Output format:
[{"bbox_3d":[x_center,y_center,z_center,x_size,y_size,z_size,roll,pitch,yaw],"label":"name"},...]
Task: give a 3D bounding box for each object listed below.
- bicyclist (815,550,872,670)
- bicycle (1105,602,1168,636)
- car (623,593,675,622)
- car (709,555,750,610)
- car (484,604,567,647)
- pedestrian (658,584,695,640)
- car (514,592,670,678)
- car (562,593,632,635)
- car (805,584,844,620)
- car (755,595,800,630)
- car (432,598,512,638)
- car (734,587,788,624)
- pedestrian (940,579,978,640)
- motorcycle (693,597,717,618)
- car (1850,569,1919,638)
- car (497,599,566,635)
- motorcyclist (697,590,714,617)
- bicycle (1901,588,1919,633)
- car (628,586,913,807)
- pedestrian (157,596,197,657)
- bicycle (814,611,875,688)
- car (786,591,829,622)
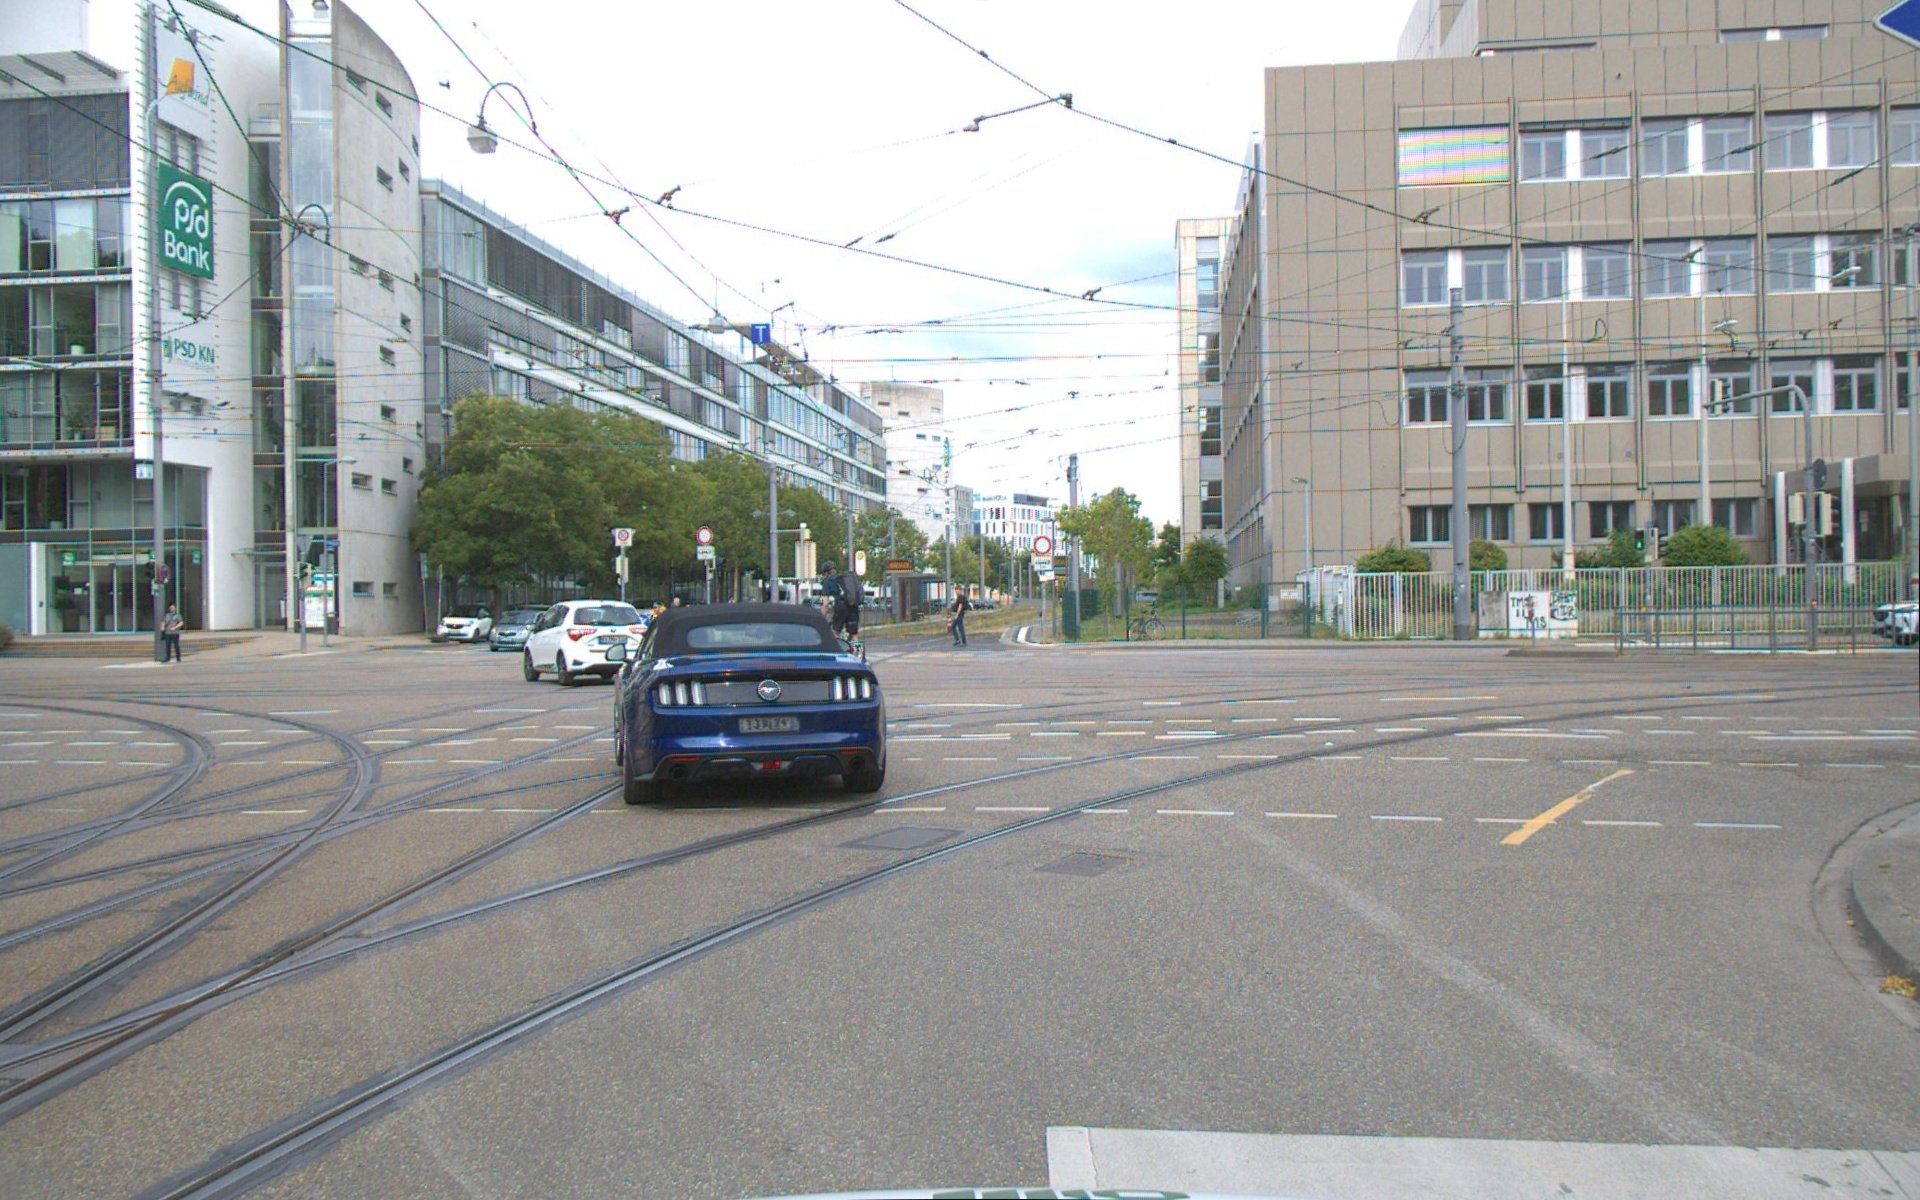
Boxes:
[{"bbox_3d":[-1.803,0.155,25.787,0.780,1.817,1.233,-1,0,0],"label":"bicyclist"},{"bbox_3d":[5.563,0.610,52.276,0.628,0.998,2.127,-1,-2,-39],"label":"bicycle"},{"bbox_3d":[-18.132,0.397,96.616,1.944,1.584,4.514,1,0,3],"label":"car"},{"bbox_3d":[-16.063,-1.228,115.584,1.944,3.700,4.514,1,0,3],"label":"car"},{"bbox_3d":[-16.509,0.944,63.053,1.632,1.533,4.237,1,0,6],"label":"car"},{"bbox_3d":[-9.765,0.412,57.001,0.968,1.888,0.902,-1,0,9],"label":"pedestrian"},{"bbox_3d":[-6.963,0.609,30.971,1.814,1.464,4.148,-1,0,-28],"label":"car"},{"bbox_3d":[-15.503,0.583,70.757,1.678,1.689,4.136,1,0,6],"label":"car"},{"bbox_3d":[-7.839,0.093,95.901,1.748,2.022,4.122,-1,0,2],"label":"car"},{"bbox_3d":[-9.106,0.605,82.822,1.669,1.634,4.080,-1,0,2],"label":"car"},{"bbox_3d":[-20.982,0.760,71.289,1.791,1.584,4.219,1,0,6],"label":"car"},{"bbox_3d":[-9.258,0.254,77.212,1.840,1.657,4.088,-1,0,2],"label":"car"},{"bbox_3d":[-0.026,0.312,53.133,1.062,1.931,0.902,-1,0,11],"label":"pedestrian"},{"bbox_3d":[-15.246,0.430,99.086,0.808,1.221,2.504,0,0,6],"label":"motorcycle"},{"bbox_3d":[23.147,0.055,37.995,4.312,1.531,2.002,-1,0,8],"label":"car"},{"bbox_3d":[-20.285,0.799,78.489,1.791,1.584,4.219,1,0,6],"label":"car"},{"bbox_3d":[-15.239,0.217,99.099,0.802,1.645,0.883,0,0,6],"label":"motorcyclist"},{"bbox_3d":[24.500,0.255,40.884,2.139,1.105,0.801,0,1,33],"label":"bicycle"},{"bbox_3d":[-1.648,0.617,12.965,1.843,1.428,4.270,1,0,-12],"label":"car"},{"bbox_3d":[-24.885,0.831,52.548,0.816,1.897,0.766,-1,0,14],"label":"pedestrian"},{"bbox_3d":[-1.780,0.745,25.769,0.784,1.105,2.131,-1,0,0],"label":"bicycle"},{"bbox_3d":[-8.348,0.358,90.726,1.829,1.634,4.214,-1,0,2],"label":"car"}]
